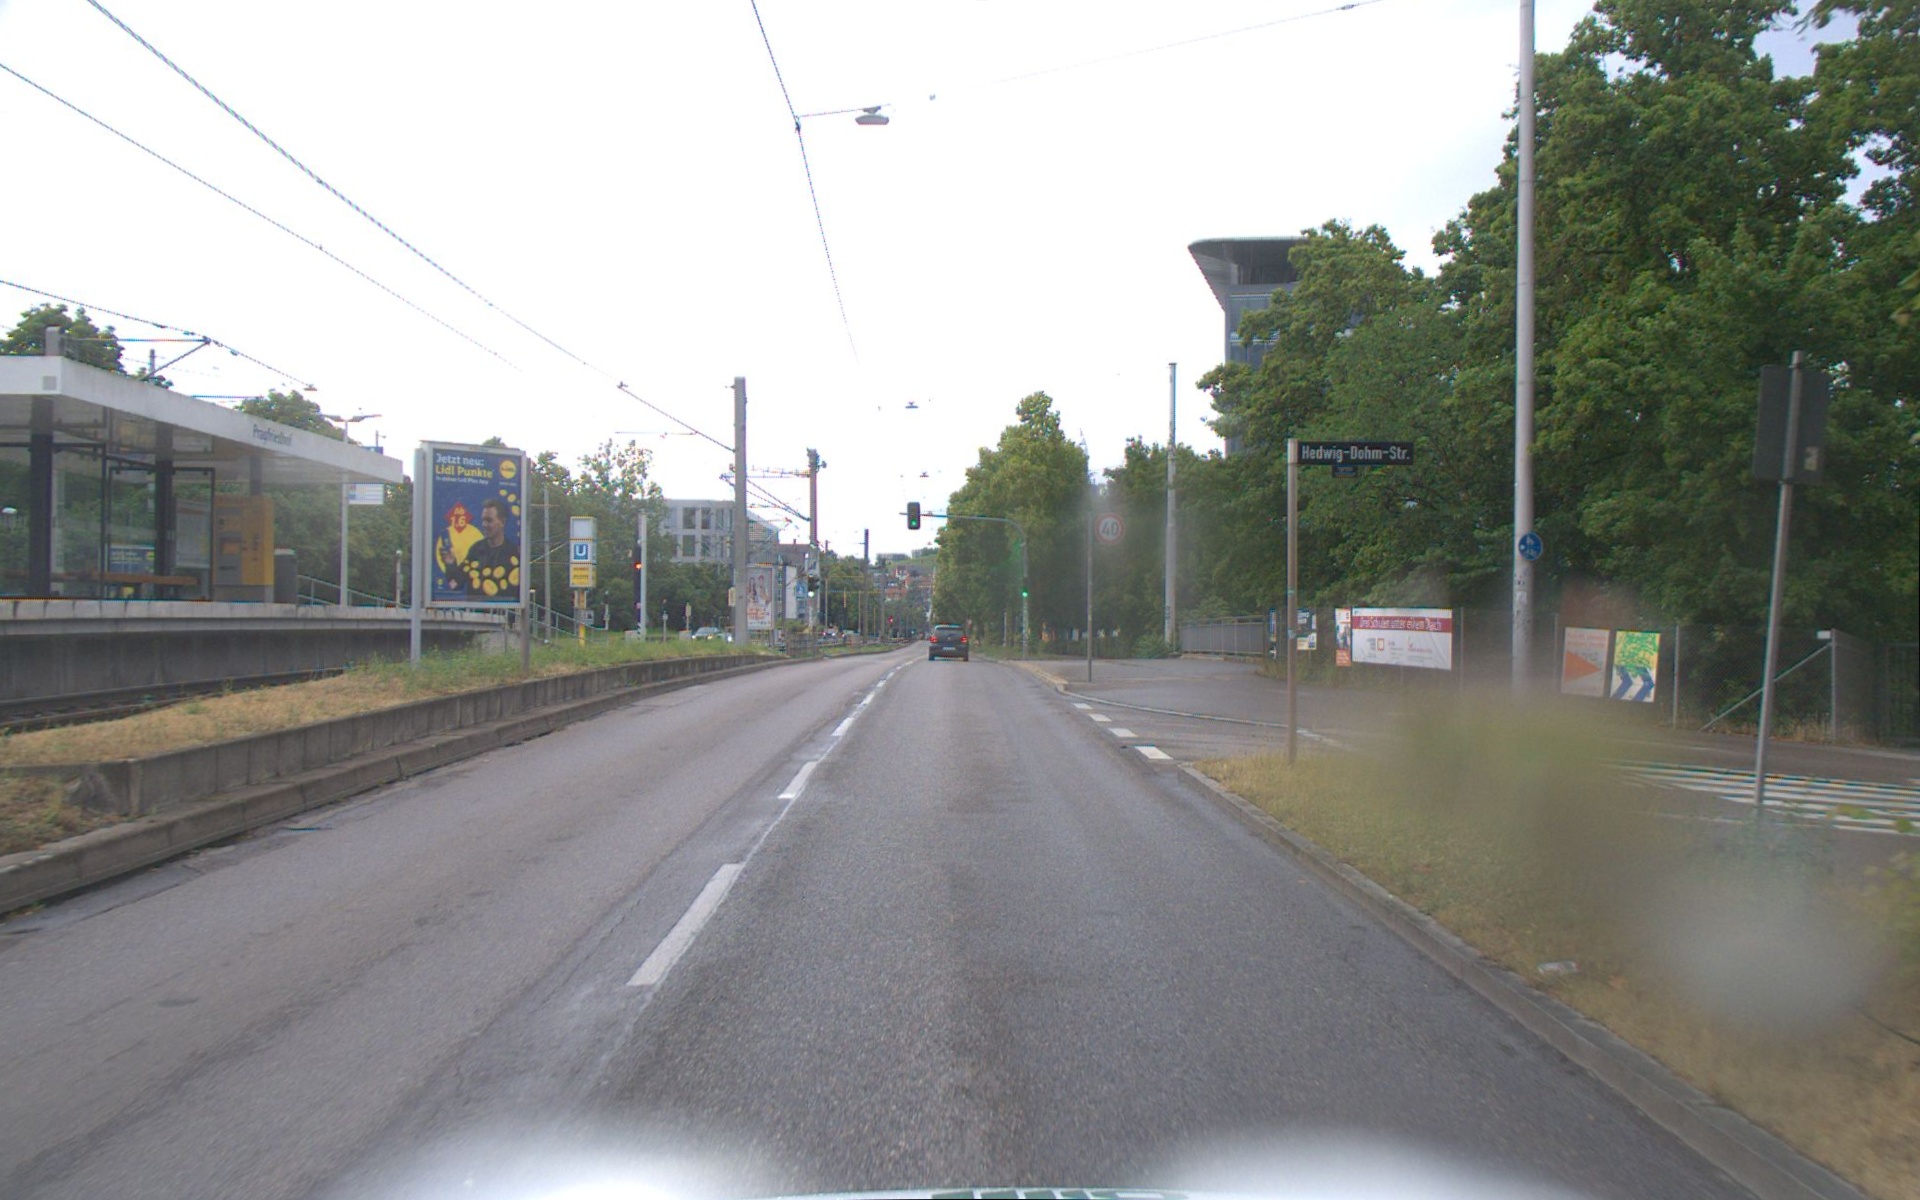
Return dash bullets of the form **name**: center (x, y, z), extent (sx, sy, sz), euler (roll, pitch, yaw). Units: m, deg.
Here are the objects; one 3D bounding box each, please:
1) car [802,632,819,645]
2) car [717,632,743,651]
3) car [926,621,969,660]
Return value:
- **car**: center (-21.827, 5.629, 241.904), extent (1.811, 1.660, 3.611), euler (3, 1, 4)
- **car**: center (-23.130, 4.145, 166.461), extent (1.811, 1.660, 3.814), euler (3, 1, 4)
- **car**: center (-0.492, 1.672, 68.383), extent (1.691, 1.568, 4.000), euler (1, -1, 1)
